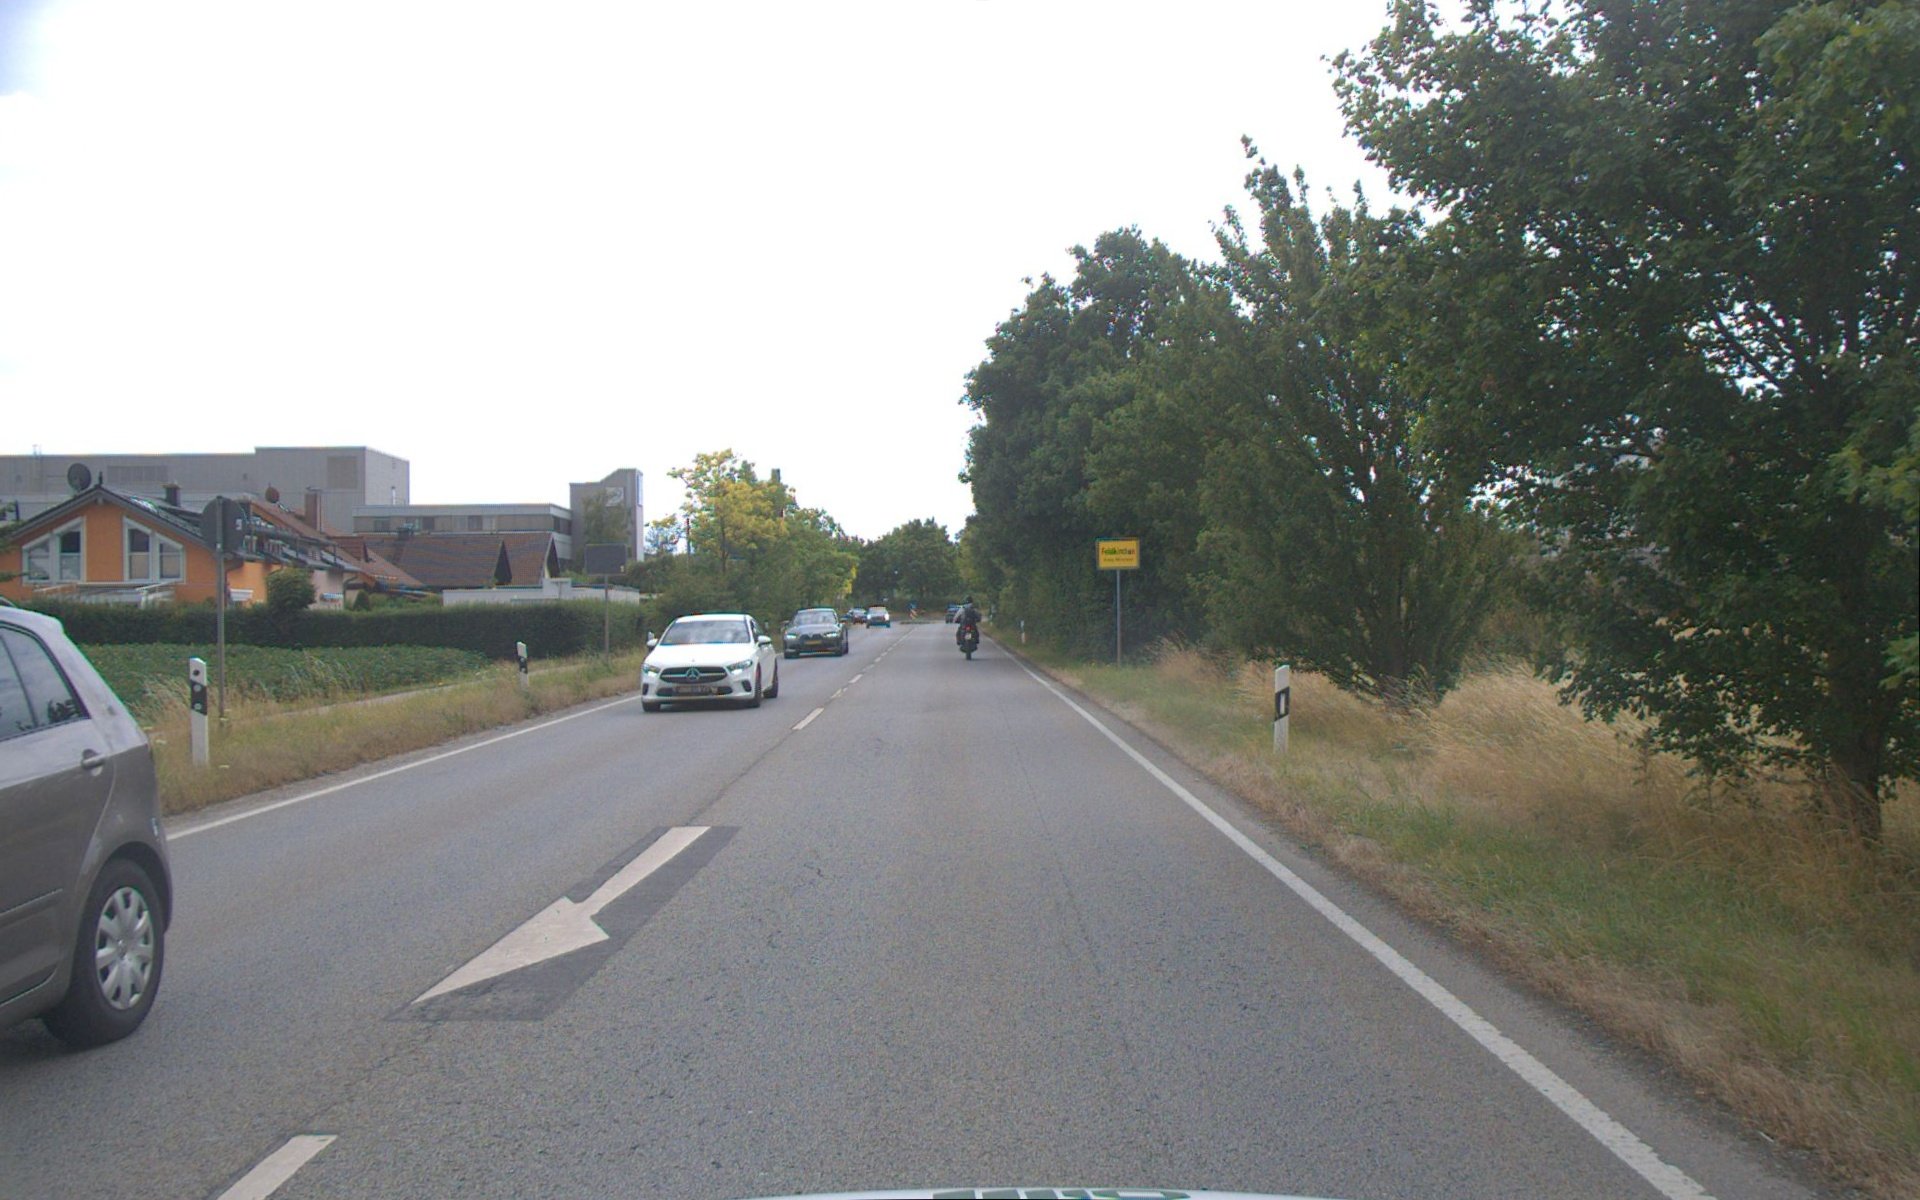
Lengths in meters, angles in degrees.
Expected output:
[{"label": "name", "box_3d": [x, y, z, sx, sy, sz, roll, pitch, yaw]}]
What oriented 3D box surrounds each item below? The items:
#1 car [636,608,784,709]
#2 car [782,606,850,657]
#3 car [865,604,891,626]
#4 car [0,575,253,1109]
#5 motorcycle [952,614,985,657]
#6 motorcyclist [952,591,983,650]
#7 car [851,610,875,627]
[{"label": "car", "box_3d": [-3.884, 0.863, 26.268, 1.737, 1.397, 4.099, -3, 0, -1]}, {"label": "car", "box_3d": [-4.487, 0.969, 52.042, 1.815, 1.490, 4.369, -2, 0, -1]}, {"label": "car", "box_3d": [-6.056, 1.128, 122.697, 1.779, 1.520, 4.203, -2, 0, -1]}, {"label": "car", "box_3d": [-3.665, 0.740, 4.477, 1.670, 1.567, 4.300, -2, 0, -1]}, {"label": "motorcycle", "box_3d": [0.228, 0.999, 47.124, 0.878, 1.178, 2.619, -1, 0, -1]}, {"label": "motorcyclist", "box_3d": [0.214, 0.585, 47.225, 0.844, 1.652, 1.190, -1, 0, -1]}, {"label": "car", "box_3d": [-8.895, 1.656, 151.201, 1.646, 1.436, 4.002, -3, 0, -10]}]
